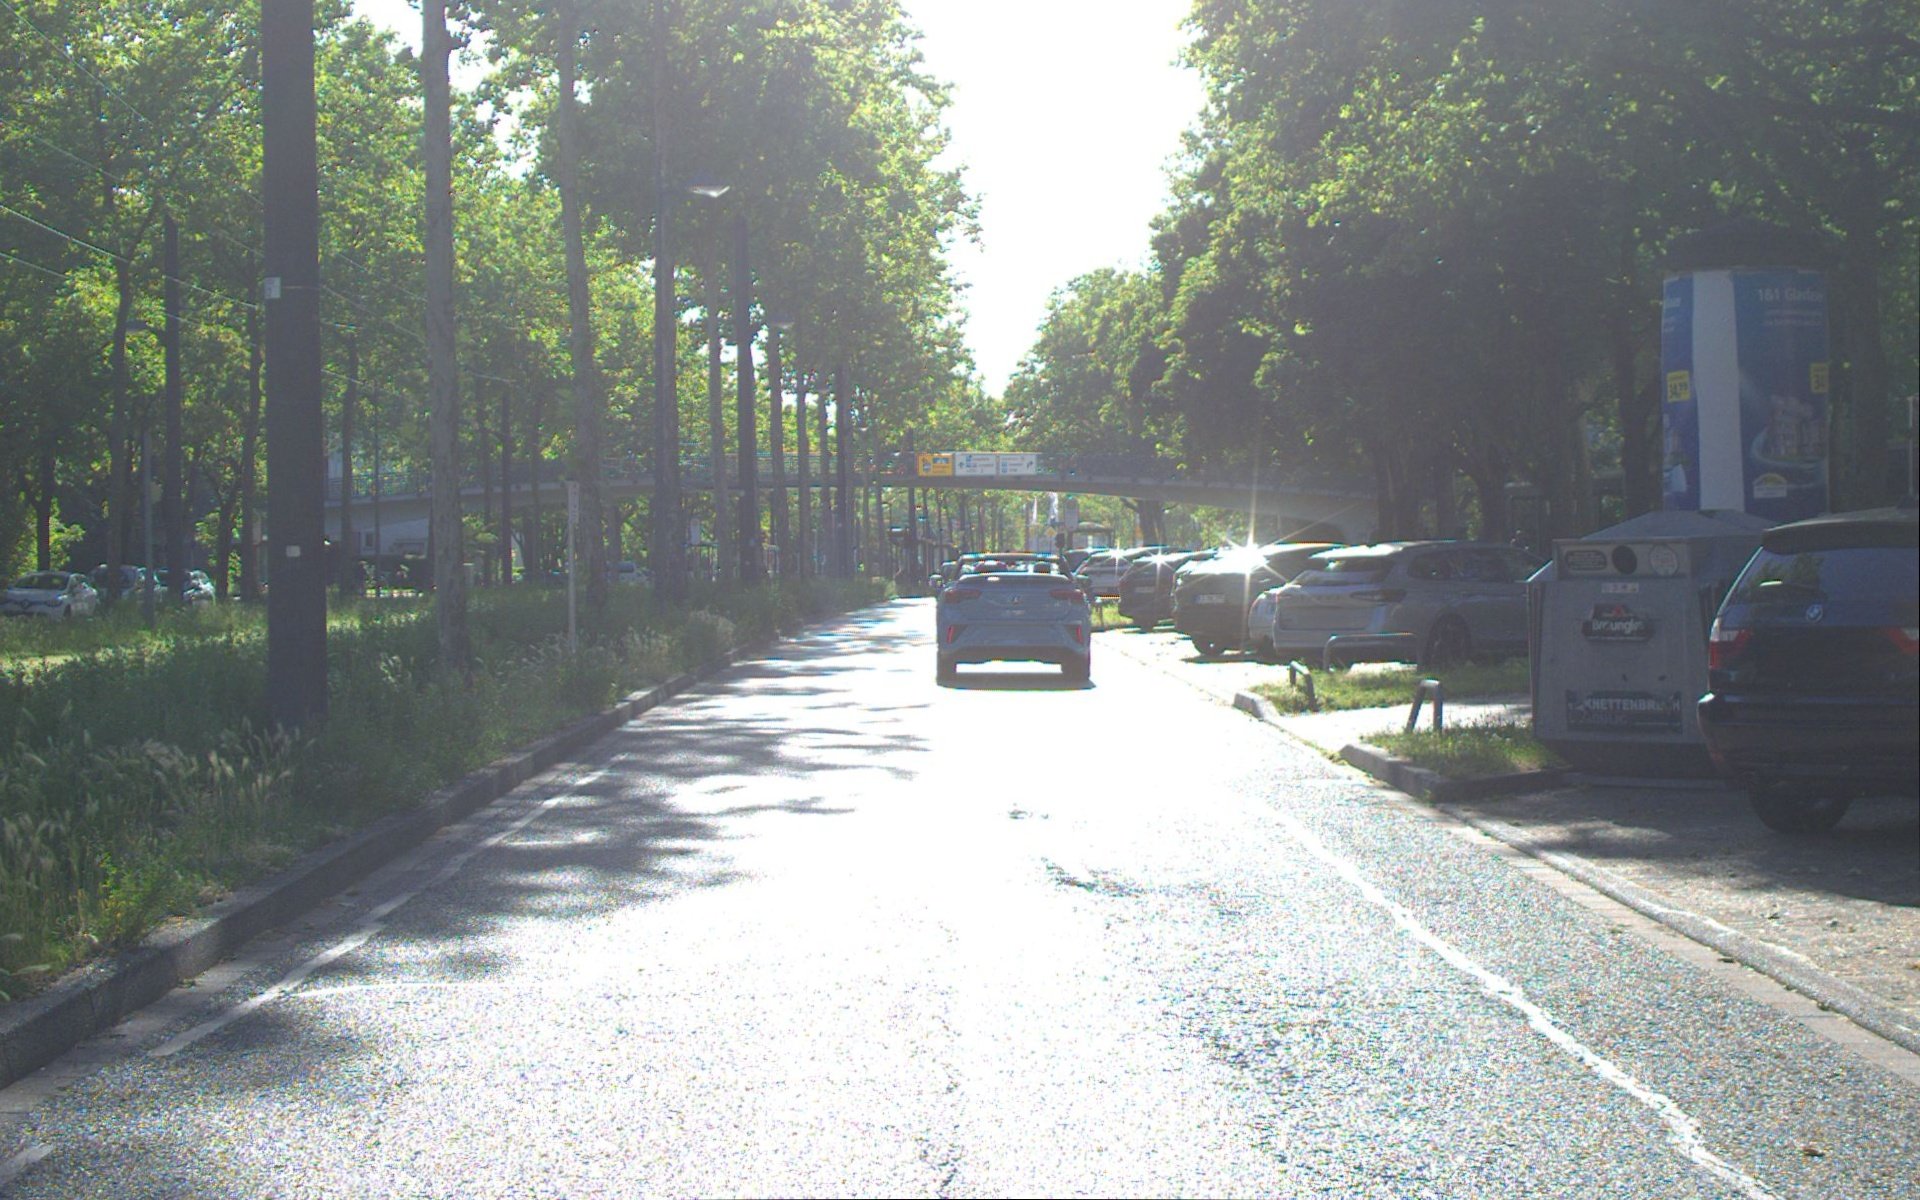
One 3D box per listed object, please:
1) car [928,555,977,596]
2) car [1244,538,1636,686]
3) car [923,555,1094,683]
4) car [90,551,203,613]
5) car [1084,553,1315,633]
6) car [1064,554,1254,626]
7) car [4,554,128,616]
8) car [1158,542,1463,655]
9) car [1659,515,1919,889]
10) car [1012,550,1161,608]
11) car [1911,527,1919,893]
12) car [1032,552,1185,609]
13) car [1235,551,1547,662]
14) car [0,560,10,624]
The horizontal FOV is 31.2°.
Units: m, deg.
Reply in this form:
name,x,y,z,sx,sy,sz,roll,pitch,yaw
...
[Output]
name,x,y,z,sx,sy,sz,roll,pitch,yaw
car,-0.282,-0.956,132.625,1.849,1.530,3.866,0,1,0
car,5.326,0.103,37.763,4.482,1.438,1.855,-3,1,-44
car,0.569,0.191,40.824,1.922,1.406,4.000,0,1,1
car,-22.453,-0.515,95.055,1.993,1.584,4.168,2,1,1
car,4.678,-0.151,66.687,1.978,1.454,4.613,0,1,44
car,4.785,-0.243,82.303,4.611,1.674,1.856,0,1,-43
car,-22.774,-0.395,87.750,1.993,1.448,4.000,2,1,1
car,4.945,-0.035,48.162,4.318,1.420,1.855,-3,1,-44
car,5.621,0.424,17.615,4.308,1.711,1.635,-1,1,-39
car,3.926,-0.641,106.028,4.611,1.762,1.856,0,1,-43
car,5.905,0.426,14.404,4.074,1.576,1.780,-2,1,-42
car,4.477,-0.587,103.059,4.611,1.674,1.856,0,1,-43
car,5.711,0.064,45.224,4.318,1.293,1.691,-3,1,-44
car,-22.595,-0.198,75.879,1.993,1.448,4.000,2,1,1
